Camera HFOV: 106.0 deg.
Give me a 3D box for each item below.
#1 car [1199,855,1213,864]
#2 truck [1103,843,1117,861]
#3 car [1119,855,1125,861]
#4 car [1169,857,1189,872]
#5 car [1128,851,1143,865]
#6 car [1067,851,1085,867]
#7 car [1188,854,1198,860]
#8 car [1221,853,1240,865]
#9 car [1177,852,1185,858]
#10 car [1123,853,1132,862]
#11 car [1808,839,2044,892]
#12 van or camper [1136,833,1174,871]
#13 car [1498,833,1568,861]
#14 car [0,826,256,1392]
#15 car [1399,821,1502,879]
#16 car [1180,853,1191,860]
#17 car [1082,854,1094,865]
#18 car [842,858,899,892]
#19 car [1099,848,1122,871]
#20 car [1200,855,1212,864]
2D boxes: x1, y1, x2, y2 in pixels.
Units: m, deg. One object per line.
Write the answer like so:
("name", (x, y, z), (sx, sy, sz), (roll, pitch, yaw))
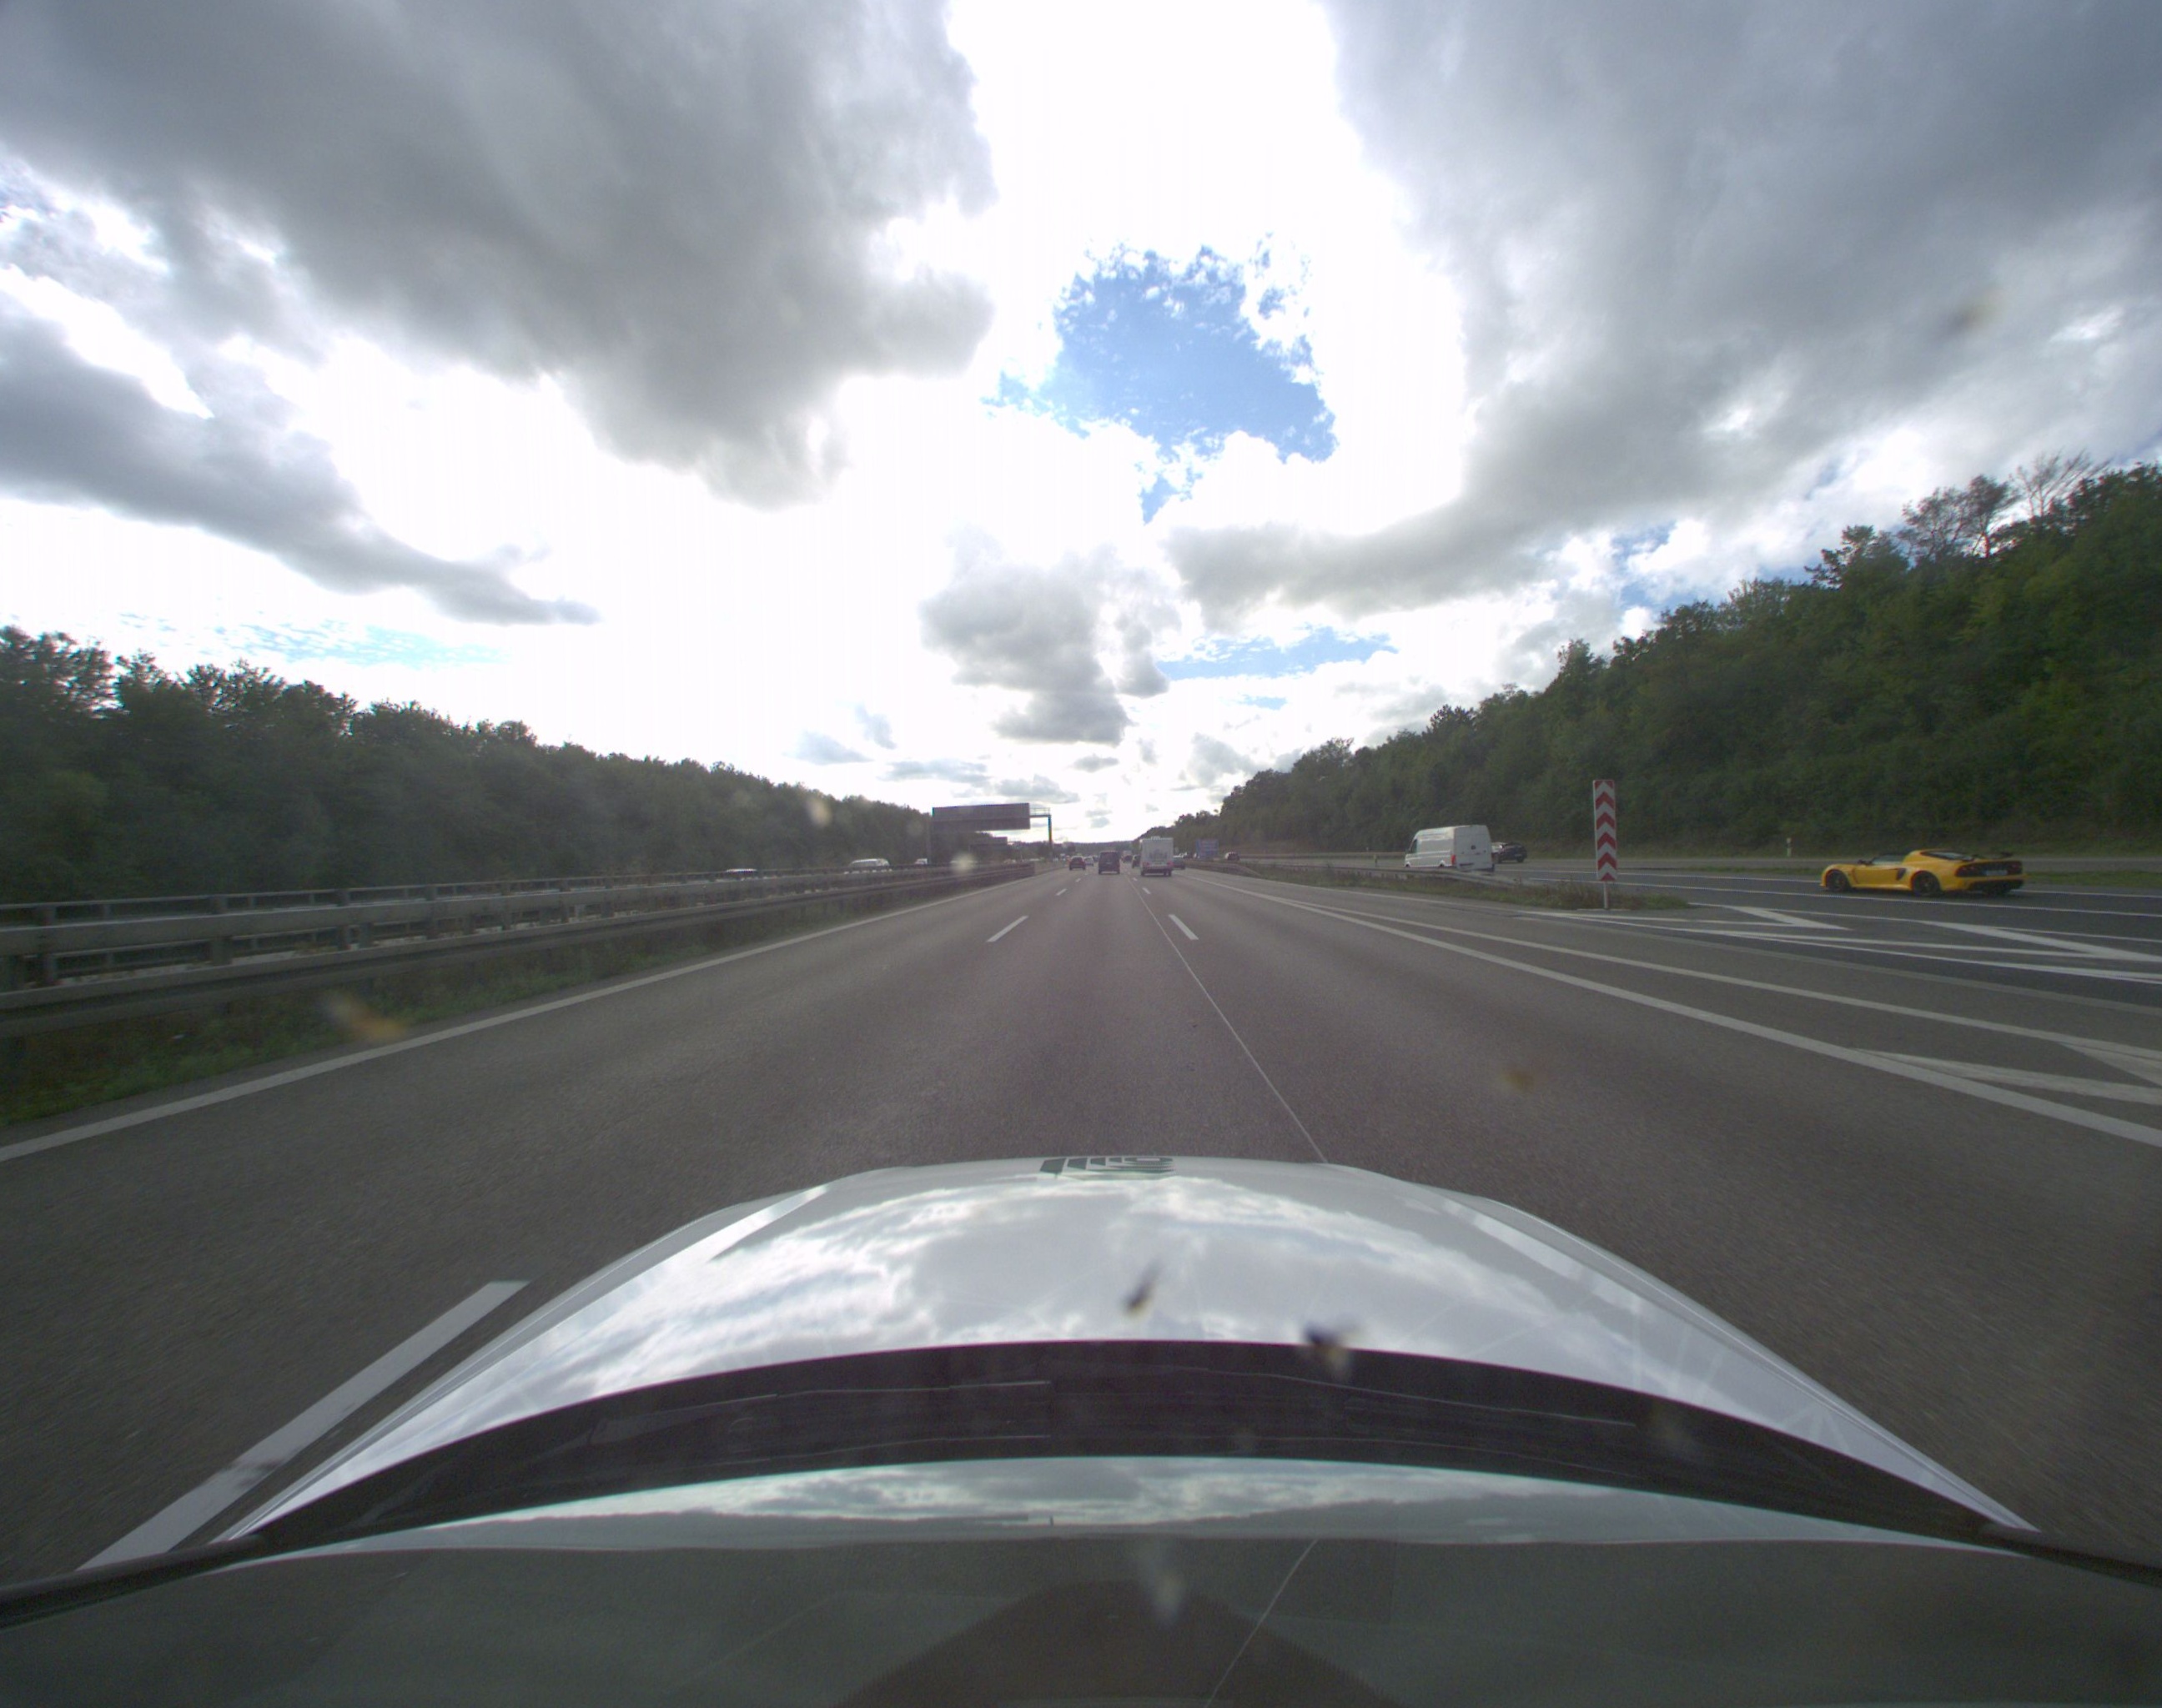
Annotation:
("car", (22.735, 0.922, 148.102), (1.837, 1.484, 4.526), (-4, 0, 1))
("truck", (7.075, -0.424, 198.107), (3.251, 4.375, 11.030), (-1, 0, 2))
("car", (11.949, 1.040, 238.933), (1.745, 1.695, 4.191), (-1, 0, 2))
("car", (10.629, 1.133, 88.337), (1.691, 1.611, 3.896), (-2, 0, 1))
("car", (6.770, 0.498, 101.408), (1.691, 1.564, 4.114), (-2, 0, 1))
("car", (-0.547, 0.597, 94.192), (1.866, 1.698, 4.073), (-2, -1, 2))
("car", (28.796, 0.827, 209.295), (1.837, 1.484, 4.526), (-4, 0, 1))
("car", (20.839, 0.730, 113.710), (1.836, 1.484, 4.527), (-4, 0, 2))
("car", (29.143, 0.306, 237.538), (1.837, 1.484, 4.526), (-4, 0, 1))
("car", (10.267, 0.811, 180.341), (1.906, 1.919, 4.032), (-1, 0, 2))
("car", (21.087, 0.259, 20.613), (1.705, 1.181, 4.170), (-1, 0, 1))
("van or camper", (5.539, -0.122, 61.980), (2.459, 2.722, 7.664), (-1, 0, 2))
("car", (28.849, -0.454, 52.173), (1.837, 1.602, 4.765), (-4, 0, 1))
("car", (-4.154, 0.755, 0.328), (1.905, 1.636, 5.502), (-1, 0, 2))
("car", (18.037, -0.202, 40.192), (2.062, 2.554, 6.745), (-2, 0, 1))
("car", (23.645, 0.507, 183.891), (1.837, 1.484, 4.526), (-4, 0, 1))
("car", (1.094, 0.880, 127.894), (1.691, 1.611, 4.114), (-2, 0, 1))
("car", (-10.728, 1.023, 41.749), (1.669, 1.577, 4.174), (-2, 0, 1))
("car", (2.558, 0.475, 70.690), (1.848, 1.910, 4.261), (-1, 0, 2))
("car", (22.690, 1.008, 147.709), (1.535, 1.484, 3.944), (-4, 0, 2))
